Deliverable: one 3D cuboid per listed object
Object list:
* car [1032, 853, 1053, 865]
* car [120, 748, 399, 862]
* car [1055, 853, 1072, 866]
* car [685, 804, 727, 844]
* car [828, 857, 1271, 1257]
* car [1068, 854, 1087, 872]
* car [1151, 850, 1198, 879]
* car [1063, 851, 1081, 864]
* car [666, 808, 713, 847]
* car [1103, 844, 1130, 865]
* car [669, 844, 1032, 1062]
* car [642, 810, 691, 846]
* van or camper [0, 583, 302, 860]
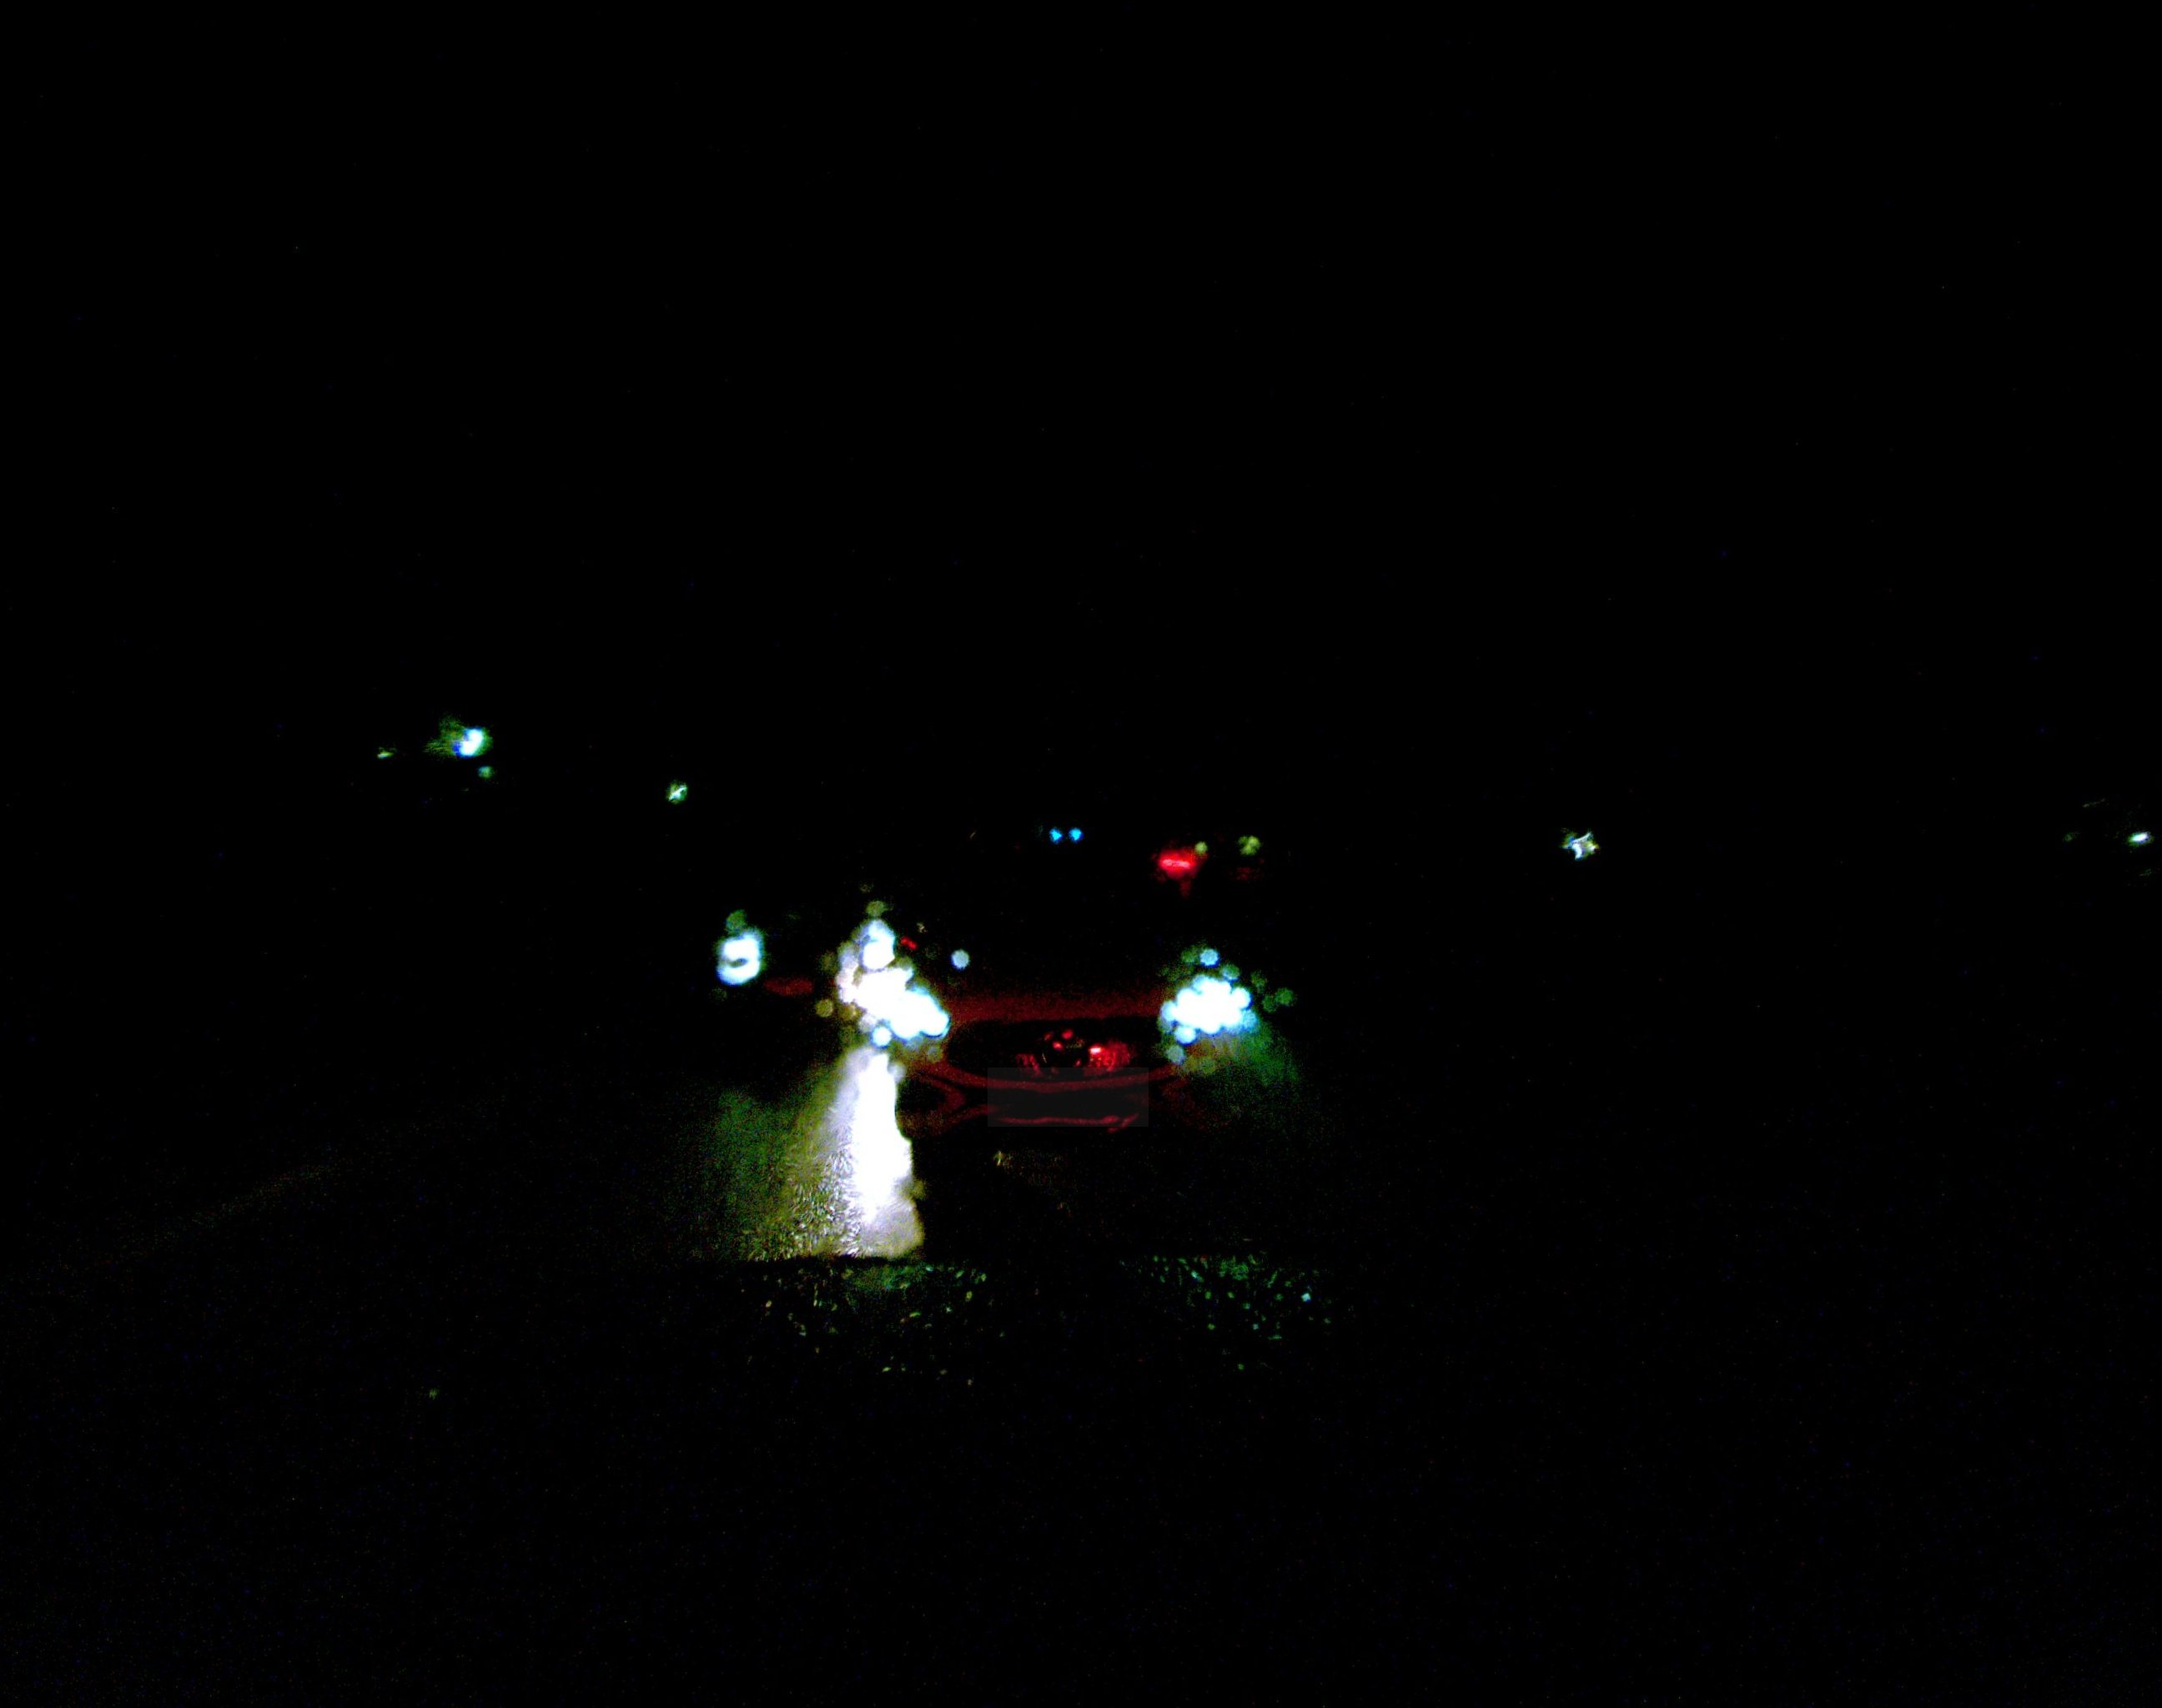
[{"bbox_3d":[-6.633,0.839,131.765,2.094,2.002,4.704,-2,1,-23],"label":"car"},{"bbox_3d":[-16.399,-0.903,15.541,2.001,2.002,3.994,-3,1,-16],"label":"car"},{"bbox_3d":[-2.790,0.902,120.809,2.000,2.002,3.996,-3,1,-11],"label":"car"},{"bbox_3d":[-27.811,-2.168,56.490,1.937,2.759,4.249,-3,1,-16],"label":"car"},{"bbox_3d":[-0.102,0.879,5.411,1.826,1.573,4.354,-2,1,1],"label":"car"},{"bbox_3d":[-0.393,1.058,92.448,1.999,2.002,3.998,-2,1,-4],"label":"car"},{"bbox_3d":[5.394,0.618,44.320,1.893,1.559,4.485,-1,-1,-3],"label":"car"},{"bbox_3d":[-1.276,0.419,106.188,2.000,1.687,3.997,-2,1,-8],"label":"car"},{"bbox_3d":[-26.343,-1.730,51.289,1.937,2.406,4.249,-3,1,-16],"label":"car"},{"bbox_3d":[3.472,0.024,75.418,2.091,2.002,4.711,-2,1,-4],"label":"car"},{"bbox_3d":[-2.093,0.803,8.690,1.838,1.725,4.944,-2,1,10],"label":"car"},{"bbox_3d":[-25.028,-1.520,46.032,1.735,2.002,3.696,-3,1,-16],"label":"car"},{"bbox_3d":[-12.787,-1.364,9.042,2.417,2.777,5.763,-3,1,-18],"label":"van or camper"}]
